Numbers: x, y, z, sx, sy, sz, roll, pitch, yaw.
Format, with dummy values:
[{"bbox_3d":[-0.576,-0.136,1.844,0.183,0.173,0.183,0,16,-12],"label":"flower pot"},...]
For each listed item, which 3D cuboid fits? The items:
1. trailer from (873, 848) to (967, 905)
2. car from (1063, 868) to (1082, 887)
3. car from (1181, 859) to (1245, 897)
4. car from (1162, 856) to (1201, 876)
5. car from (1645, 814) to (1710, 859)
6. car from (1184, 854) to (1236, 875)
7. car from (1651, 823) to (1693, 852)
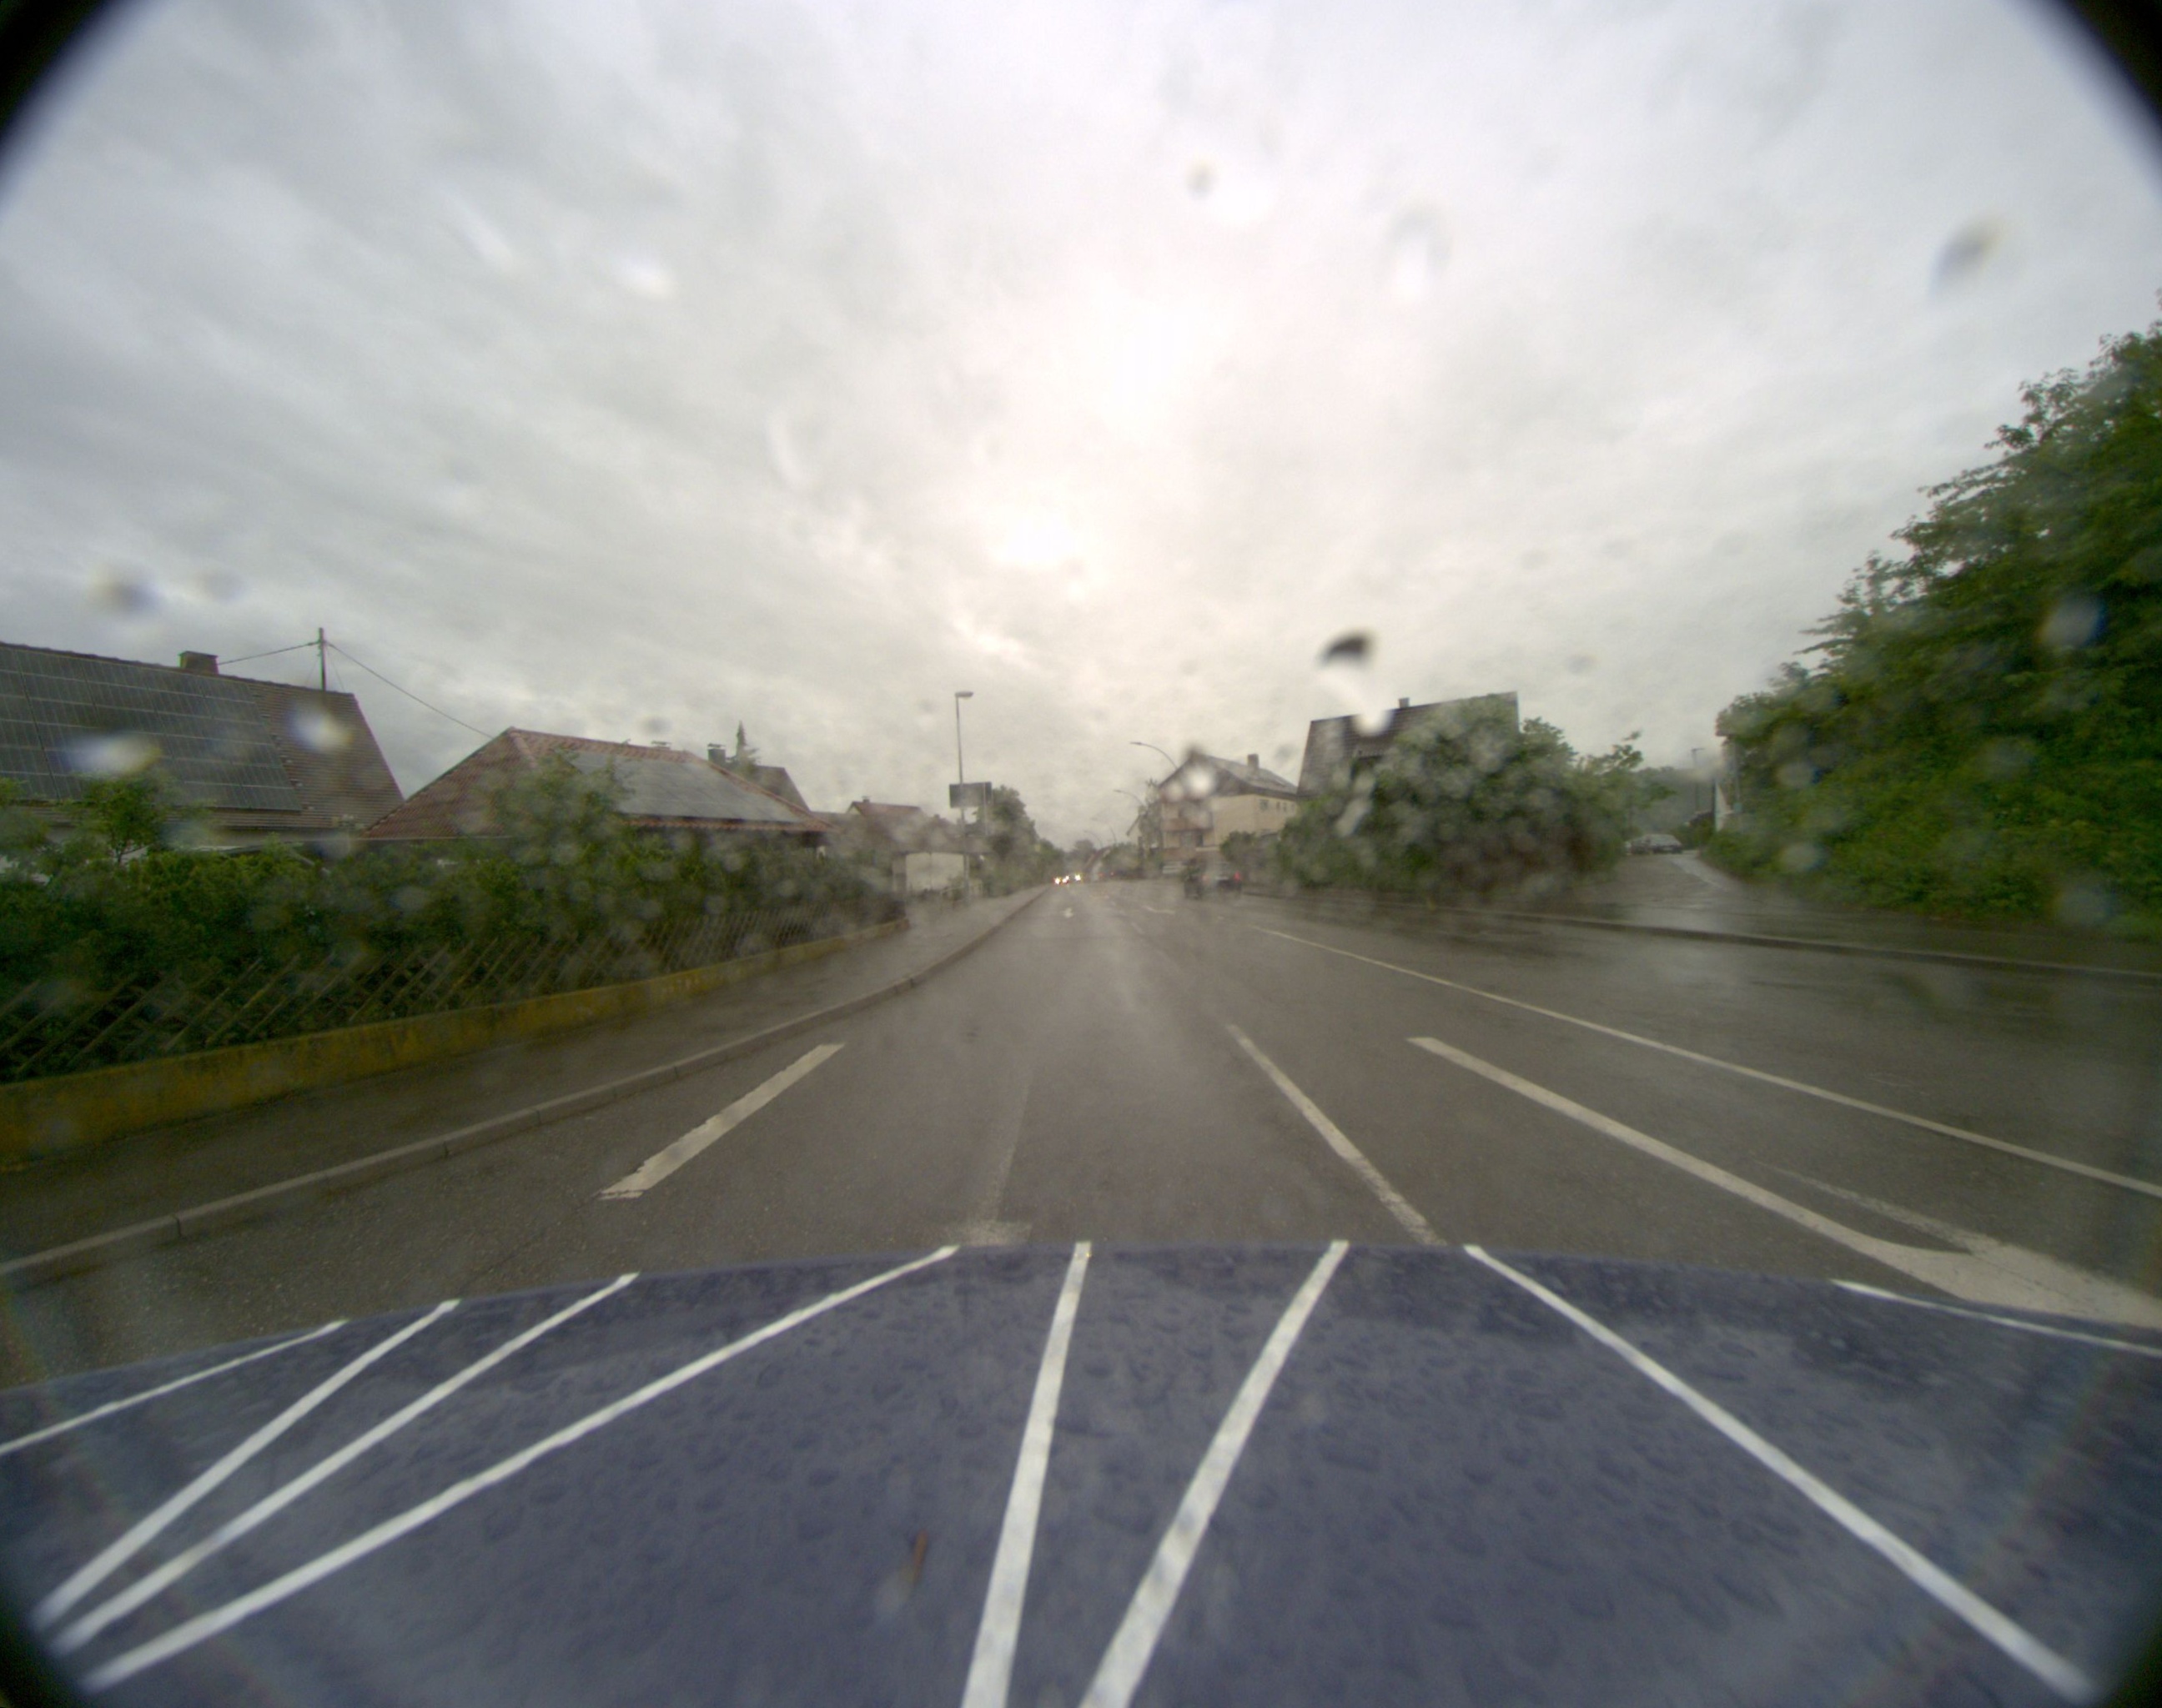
[{"bbox_3d":[-7.716,1.024,36.926,1.645,2.502,4.712,-3,-1,28],"label":"trailer"},{"bbox_3d":[-0.918,2.659,87.000,1.998,2.002,4.000,-3,0,1],"label":"car"},{"bbox_3d":[5.311,0.920,30.974,1.681,1.379,3.459,-3,0,-5],"label":"car"},{"bbox_3d":[8.913,1.054,67.045,1.864,1.510,4.007,-3,0,32],"label":"car"},{"bbox_3d":[22.969,-0.692,29.210,1.706,1.579,3.669,-2,0,42],"label":"car"},{"bbox_3d":[10.426,0.854,61.403,3.661,1.510,1.758,-3,0,35],"label":"car"},{"bbox_3d":[41.128,-1.165,52.849,1.995,1.848,4.008,-3,0,41],"label":"car"}]
